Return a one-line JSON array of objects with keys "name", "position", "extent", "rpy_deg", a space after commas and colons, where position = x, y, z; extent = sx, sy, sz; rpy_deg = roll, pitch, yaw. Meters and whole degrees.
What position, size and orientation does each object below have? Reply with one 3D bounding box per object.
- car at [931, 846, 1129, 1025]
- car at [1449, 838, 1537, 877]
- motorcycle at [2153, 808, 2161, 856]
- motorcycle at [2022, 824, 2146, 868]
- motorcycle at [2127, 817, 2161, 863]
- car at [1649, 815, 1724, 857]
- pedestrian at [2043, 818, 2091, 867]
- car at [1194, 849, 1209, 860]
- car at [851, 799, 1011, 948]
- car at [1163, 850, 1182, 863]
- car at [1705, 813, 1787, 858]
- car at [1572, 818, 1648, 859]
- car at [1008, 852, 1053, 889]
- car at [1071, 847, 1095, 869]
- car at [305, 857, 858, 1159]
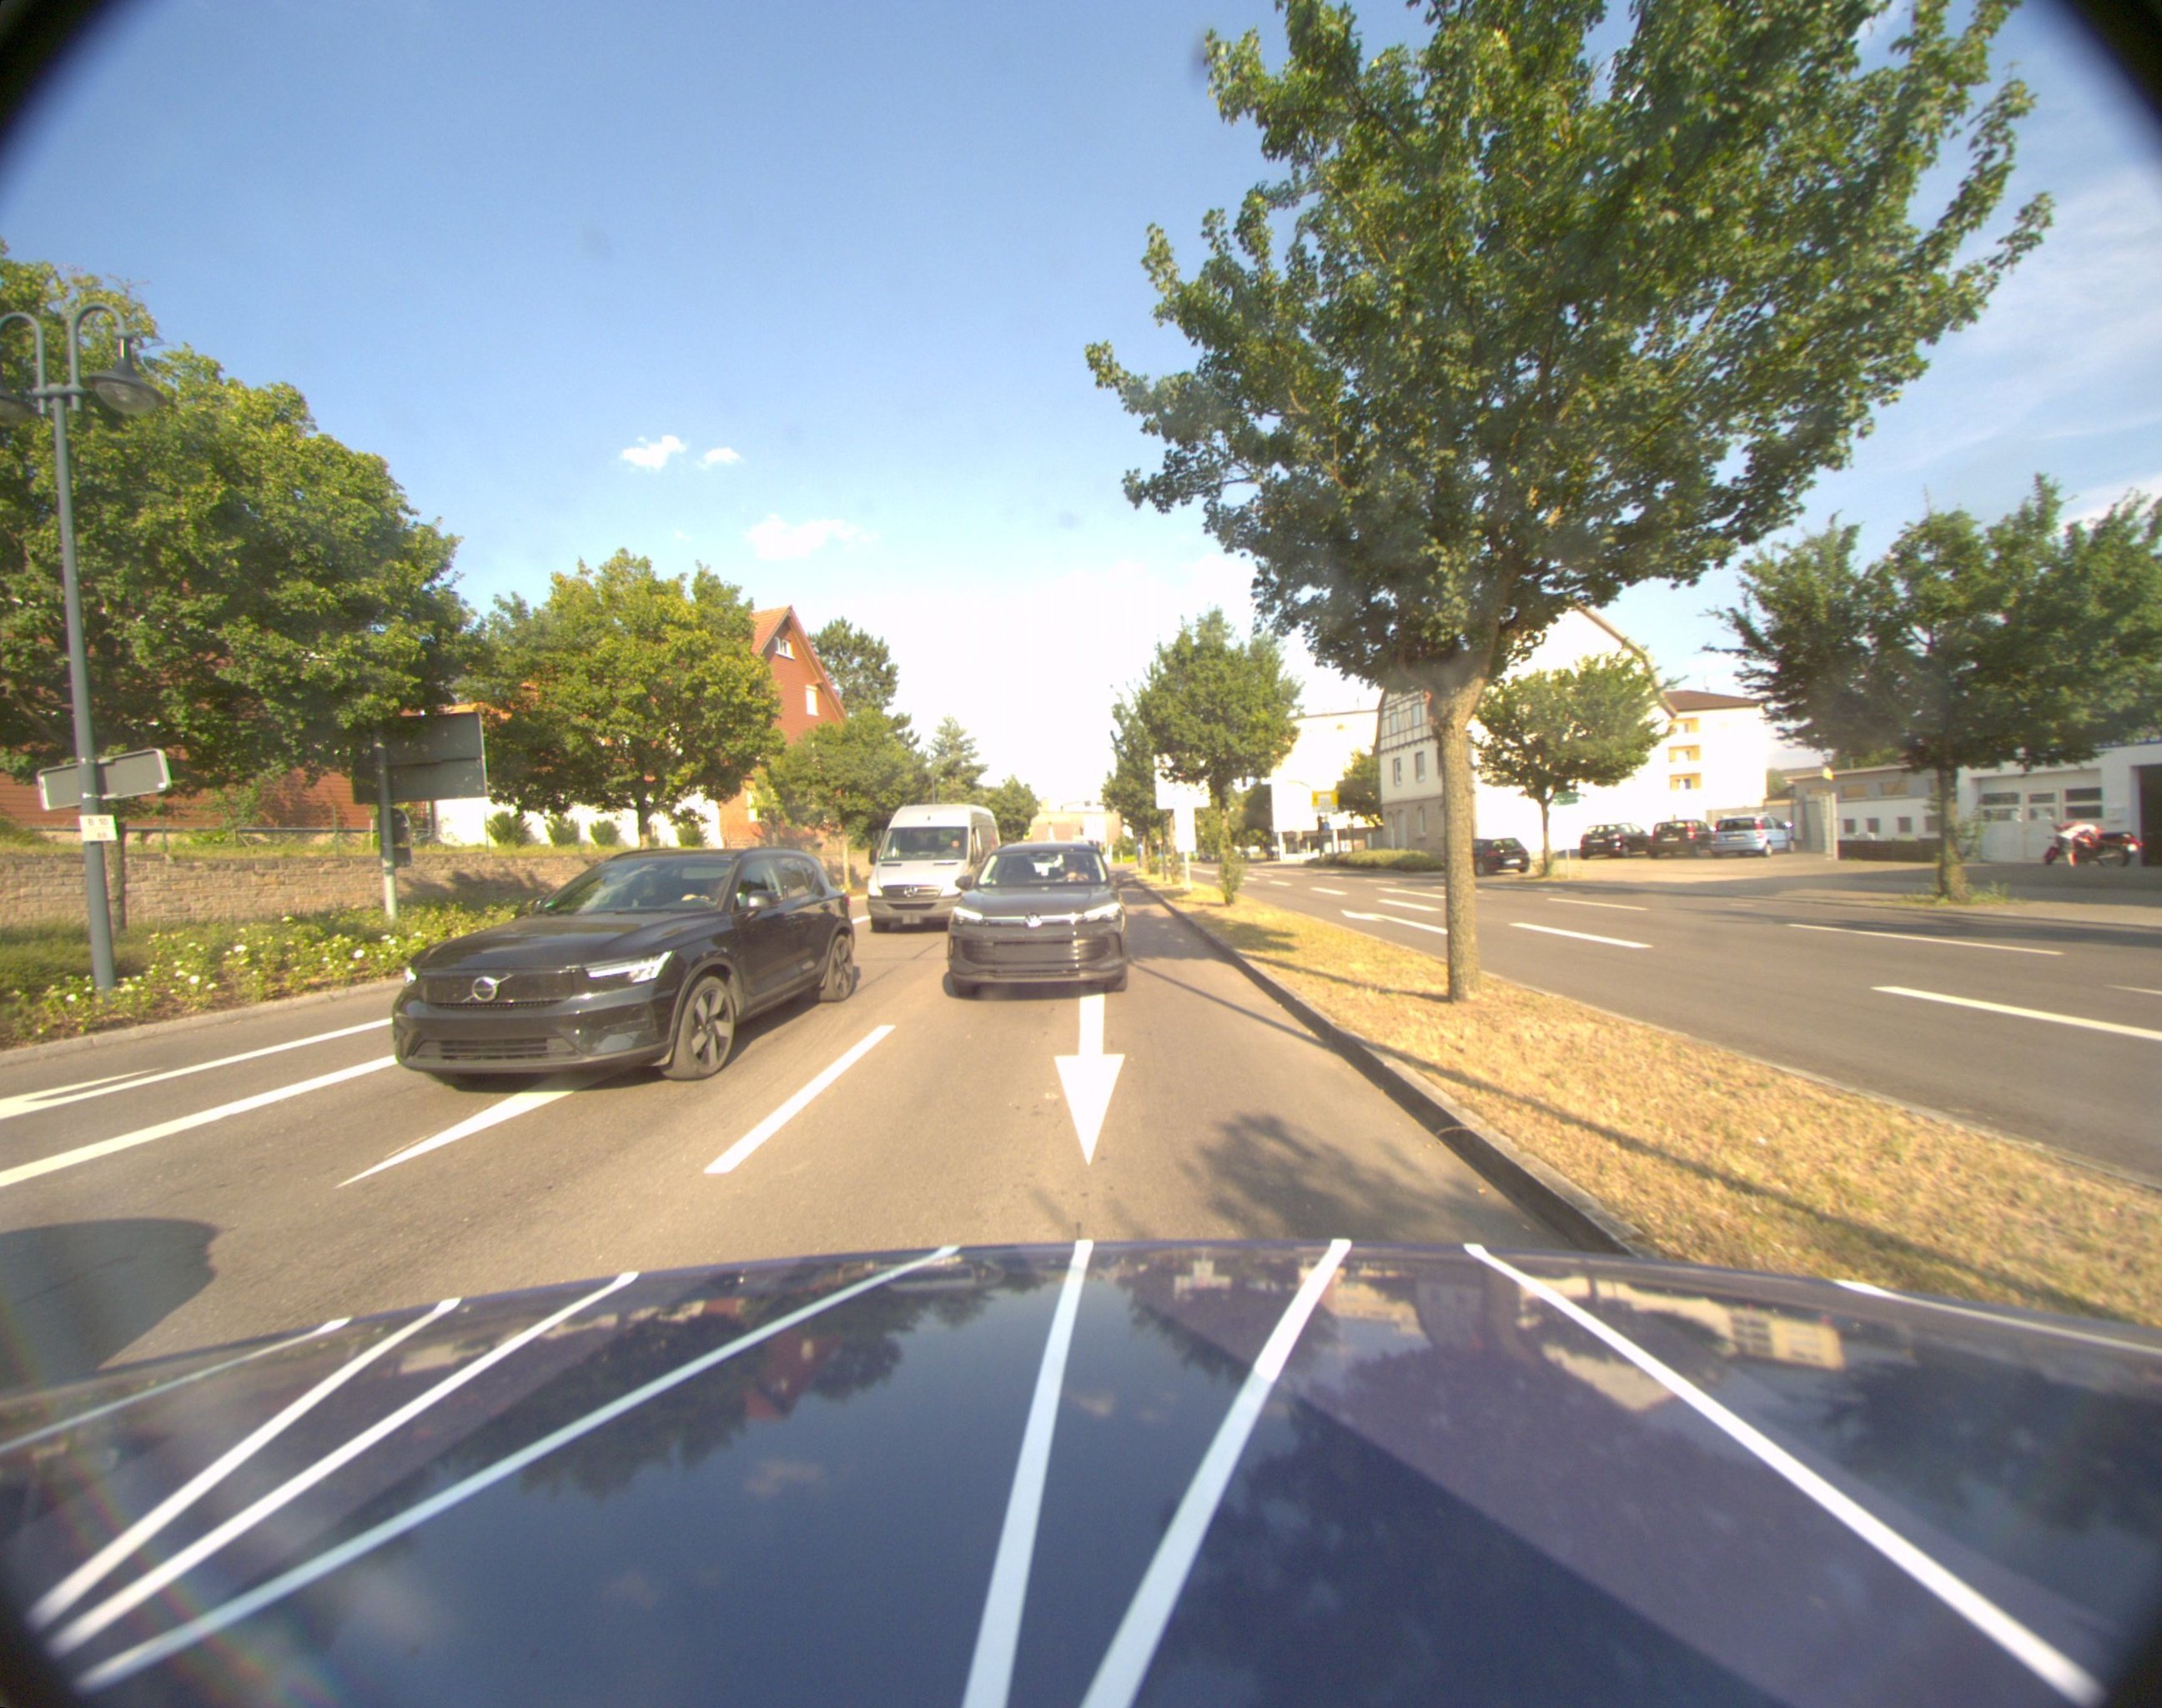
[{"name": "car", "position": [-0.434, 0.742, 9.089], "extent": [1.768, 1.582, 4.056], "rpy_deg": [-3, 1, 1]}, {"name": "car", "position": [15.992, 0.092, 29.682], "extent": [1.672, 1.310, 3.432], "rpy_deg": [-5, 1, 4]}, {"name": "motorcycle", "position": [30.449, -0.639, 20.311], "extent": [2.114, 1.315, 0.489], "rpy_deg": [-2, 1, 22]}, {"name": "motorcycle", "position": [27.730, -0.201, 21.068], "extent": [0.488, 1.139, 2.118], "rpy_deg": [-3, 0, -6]}, {"name": "motorcycle", "position": [31.858, -0.431, 22.438], "extent": [2.120, 1.315, 0.488], "rpy_deg": [-3, 1, -19]}, {"name": "car", "position": [24.602, -0.740, 30.831], "extent": [3.437, 1.555, 1.583], "rpy_deg": [-3, 1, -38]}, {"name": "pedestrian", "position": [27.240, -0.321, 21.002], "extent": [0.596, 1.332, 0.584], "rpy_deg": [-2, 1, -7]}, {"name": "car", "position": [23.636, 0.045, 148.927], "extent": [1.816, 2.002, 4.006], "rpy_deg": [-2, 1, 24]}, {"name": "car", "position": [-3.043, 0.323, 17.192], "extent": [2.040, 2.643, 6.649], "rpy_deg": [-3, 1, 1]}, {"name": "car", "position": [14.443, 0.322, 119.557], "extent": [1.813, 1.861, 4.005], "rpy_deg": [-2, 1, 22]}, {"name": "car", "position": [24.657, -0.693, 28.146], "extent": [3.438, 1.534, 1.617], "rpy_deg": [-2, 1, -38]}, {"name": "car", "position": [22.985, -0.695, 32.974], "extent": [3.416, 1.616, 1.857], "rpy_deg": [-3, 1, -40]}, {"name": "car", "position": [-2.376, 0.730, 36.893], "extent": [1.768, 1.582, 4.056], "rpy_deg": [-3, 1, 1]}, {"name": "car", "position": [0.183, 0.324, 59.870], "extent": [1.768, 1.582, 4.056], "rpy_deg": [-3, 1, 1]}, {"name": "car", "position": [-3.417, 0.884, 6.318], "extent": [1.792, 1.596, 4.056], "rpy_deg": [-2, 1, 1]}]
